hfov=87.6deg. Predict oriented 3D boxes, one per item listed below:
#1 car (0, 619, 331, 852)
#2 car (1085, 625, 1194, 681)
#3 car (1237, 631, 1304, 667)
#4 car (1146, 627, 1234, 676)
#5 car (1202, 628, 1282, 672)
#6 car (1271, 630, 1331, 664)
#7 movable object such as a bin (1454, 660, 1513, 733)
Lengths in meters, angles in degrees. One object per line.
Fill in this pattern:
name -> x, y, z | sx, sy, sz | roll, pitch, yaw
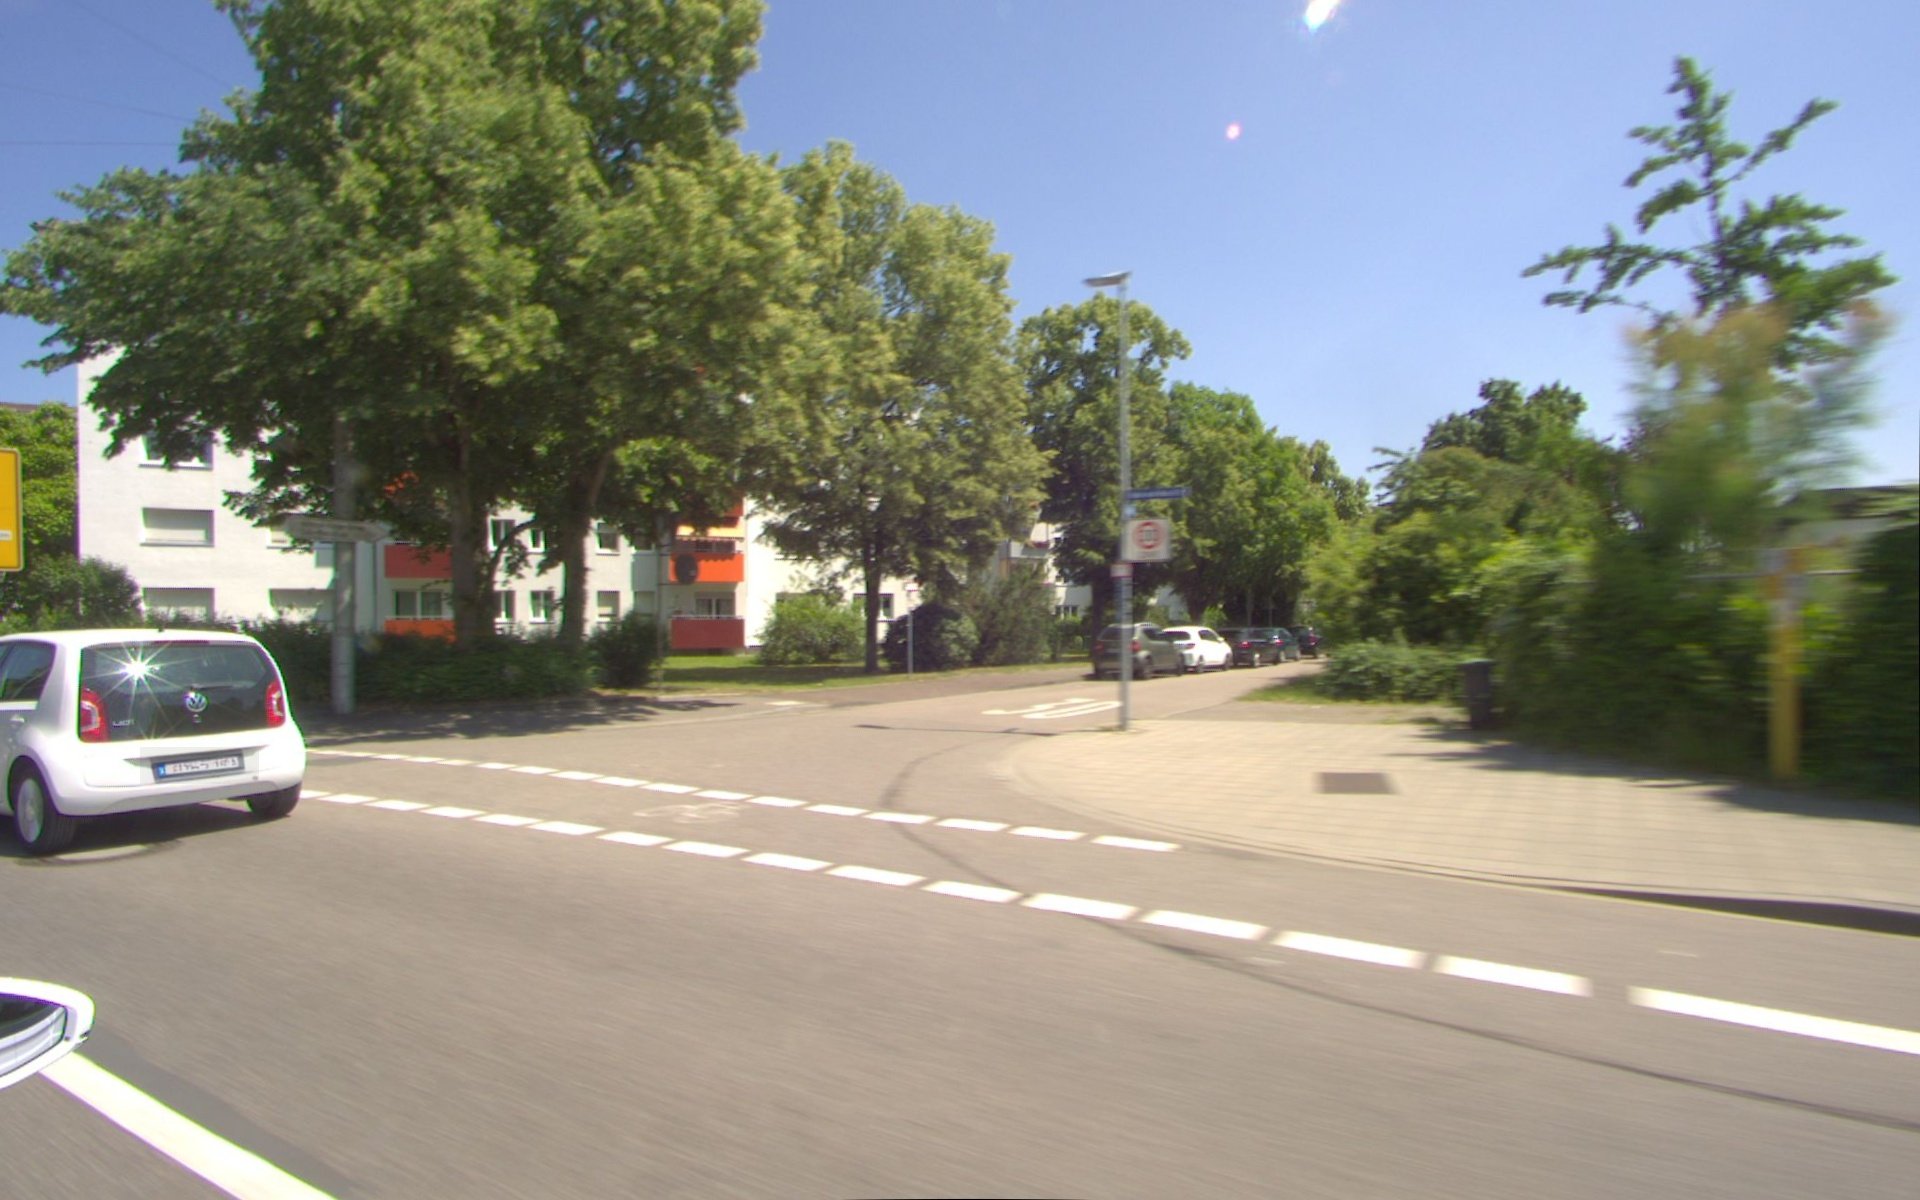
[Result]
car -> -6.952, 0.923, 7.992 | 3.796, 1.467, 1.658 | -1, -2, 29
car -> 5.405, 1.545, 29.826 | 1.702, 1.560, 3.977 | -1, -2, 35
car -> 12.901, 1.991, 41.492 | 1.671, 1.432, 3.708 | -1, -2, 34
car -> 7.628, 1.662, 33.071 | 1.631, 1.524, 3.625 | -1, -2, 34
car -> 10.328, 1.779, 36.546 | 1.607, 1.515, 3.977 | -1, -2, 35
car -> 15.795, 2.147, 46.245 | 1.970, 1.456, 3.984 | -1, -2, 29
movable object such as a bin -> 6.968, 1.268, 13.318 | 0.628, 0.914, 0.628 | -1, -2, 33
